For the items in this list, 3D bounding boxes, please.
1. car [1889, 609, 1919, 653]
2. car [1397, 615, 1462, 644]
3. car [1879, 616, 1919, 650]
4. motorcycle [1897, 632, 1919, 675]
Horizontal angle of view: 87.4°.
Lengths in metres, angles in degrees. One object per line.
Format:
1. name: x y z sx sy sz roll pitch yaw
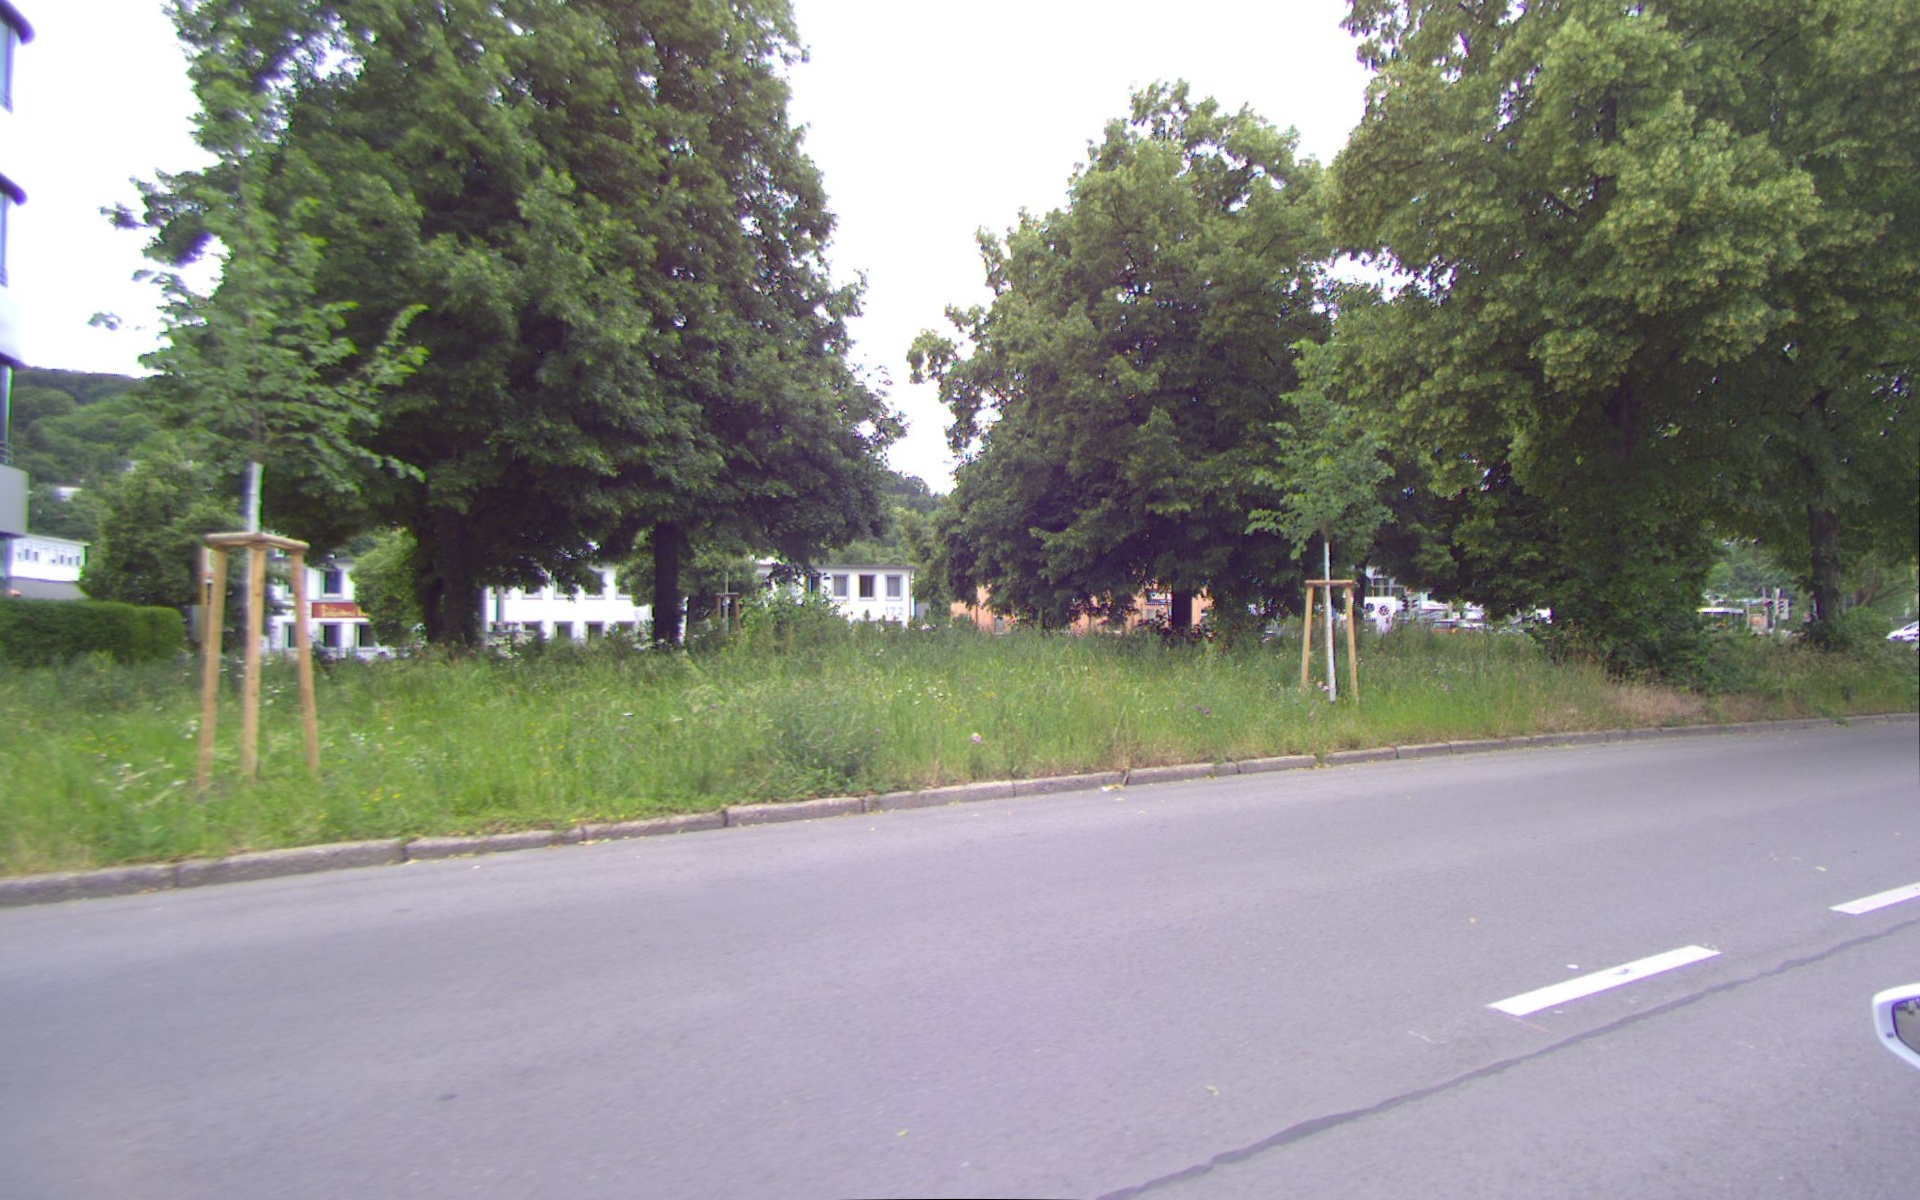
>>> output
1. car: 54.957 1.662 54.639 2.368 2.418 6.040 0 -3 -32
2. car: 23.190 1.473 49.632 2.845 1.367 1.551 0 -2 -30
3. car: 57.157 1.898 58.480 2.017 1.967 4.973 0 -2 -20
4. motorcycle: 27.776 1.509 28.787 2.006 1.183 0.564 0 -2 -23
